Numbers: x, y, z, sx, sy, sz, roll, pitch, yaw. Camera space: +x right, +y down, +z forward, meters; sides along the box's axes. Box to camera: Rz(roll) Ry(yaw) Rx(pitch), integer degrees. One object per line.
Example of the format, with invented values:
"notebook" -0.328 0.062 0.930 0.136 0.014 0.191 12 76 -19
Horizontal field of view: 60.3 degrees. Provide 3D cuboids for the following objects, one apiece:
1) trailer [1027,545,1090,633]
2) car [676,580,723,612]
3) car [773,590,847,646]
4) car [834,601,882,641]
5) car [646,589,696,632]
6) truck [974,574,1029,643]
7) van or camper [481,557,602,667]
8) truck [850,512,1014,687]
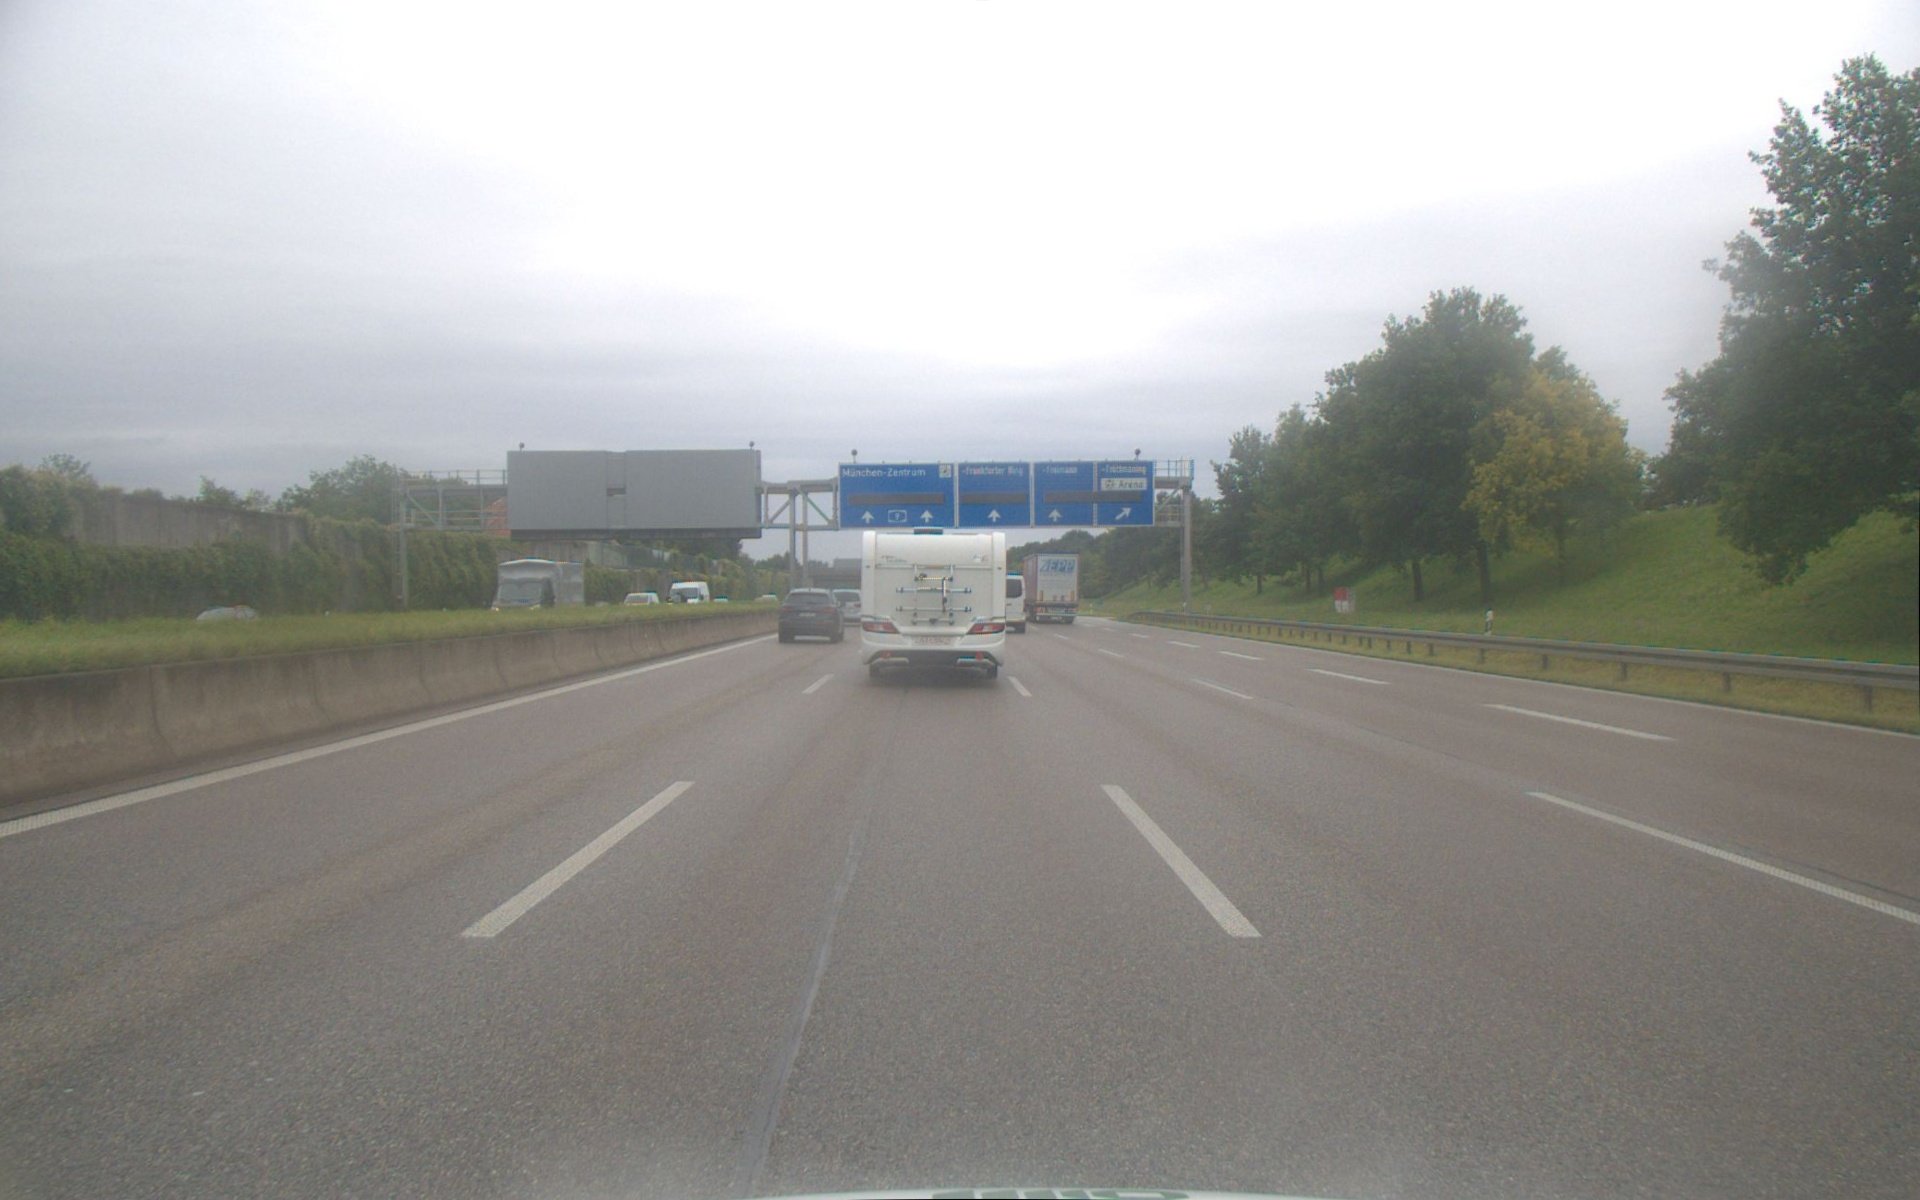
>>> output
"trailer" 5.875 -0.588 100.820 3.036 5.008 11.789 1 0 0
"car" -17.071 -0.239 108.559 2.083 1.945 6.532 1 0 -1
"car" -4.644 0.545 51.961 1.953 1.628 5.122 1 0 -2
"car" -4.835 0.993 78.975 2.085 1.736 4.111 2 0 -2
"car" -14.111 0.508 81.010 1.732 2.049 3.999 1 0 -1
"truck" 1.744 0.354 71.274 2.012 2.818 5.547 1 0 -1
"van or camper" -16.308 0.461 65.055 2.653 4.017 8.400 1 0 -1
"truck" -0.509 0.009 29.385 2.607 2.790 5.076 1 0 -2
